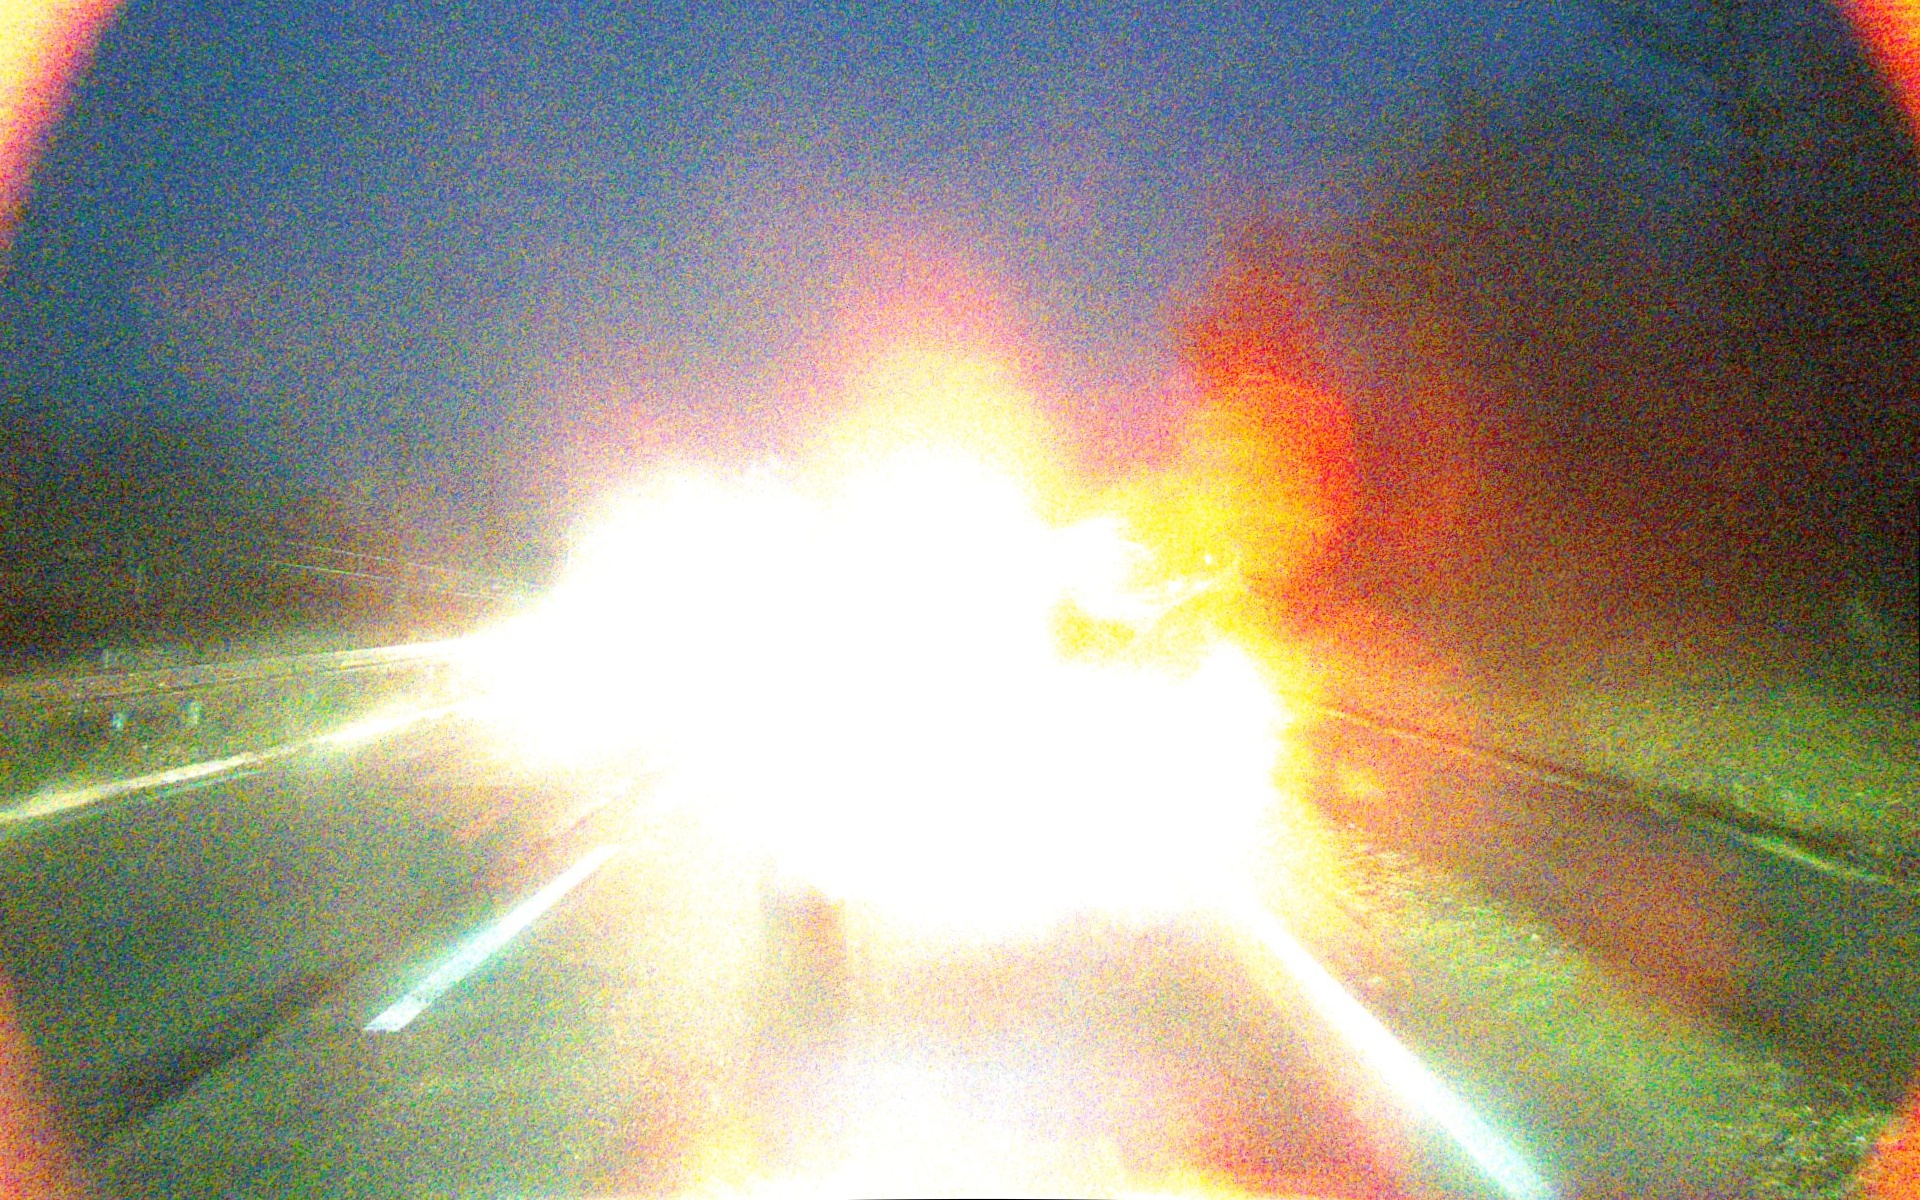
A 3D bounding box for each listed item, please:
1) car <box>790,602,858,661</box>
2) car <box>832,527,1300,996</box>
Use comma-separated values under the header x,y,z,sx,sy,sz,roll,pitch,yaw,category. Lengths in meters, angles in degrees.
x,y,z,sx,sy,sz,roll,pitch,yaw,category
-4.097,0.935,50.347,1.912,1.685,4.122,0,0,-2,car
0.389,0.601,8.229,1.739,1.742,4.000,1,0,0,car
